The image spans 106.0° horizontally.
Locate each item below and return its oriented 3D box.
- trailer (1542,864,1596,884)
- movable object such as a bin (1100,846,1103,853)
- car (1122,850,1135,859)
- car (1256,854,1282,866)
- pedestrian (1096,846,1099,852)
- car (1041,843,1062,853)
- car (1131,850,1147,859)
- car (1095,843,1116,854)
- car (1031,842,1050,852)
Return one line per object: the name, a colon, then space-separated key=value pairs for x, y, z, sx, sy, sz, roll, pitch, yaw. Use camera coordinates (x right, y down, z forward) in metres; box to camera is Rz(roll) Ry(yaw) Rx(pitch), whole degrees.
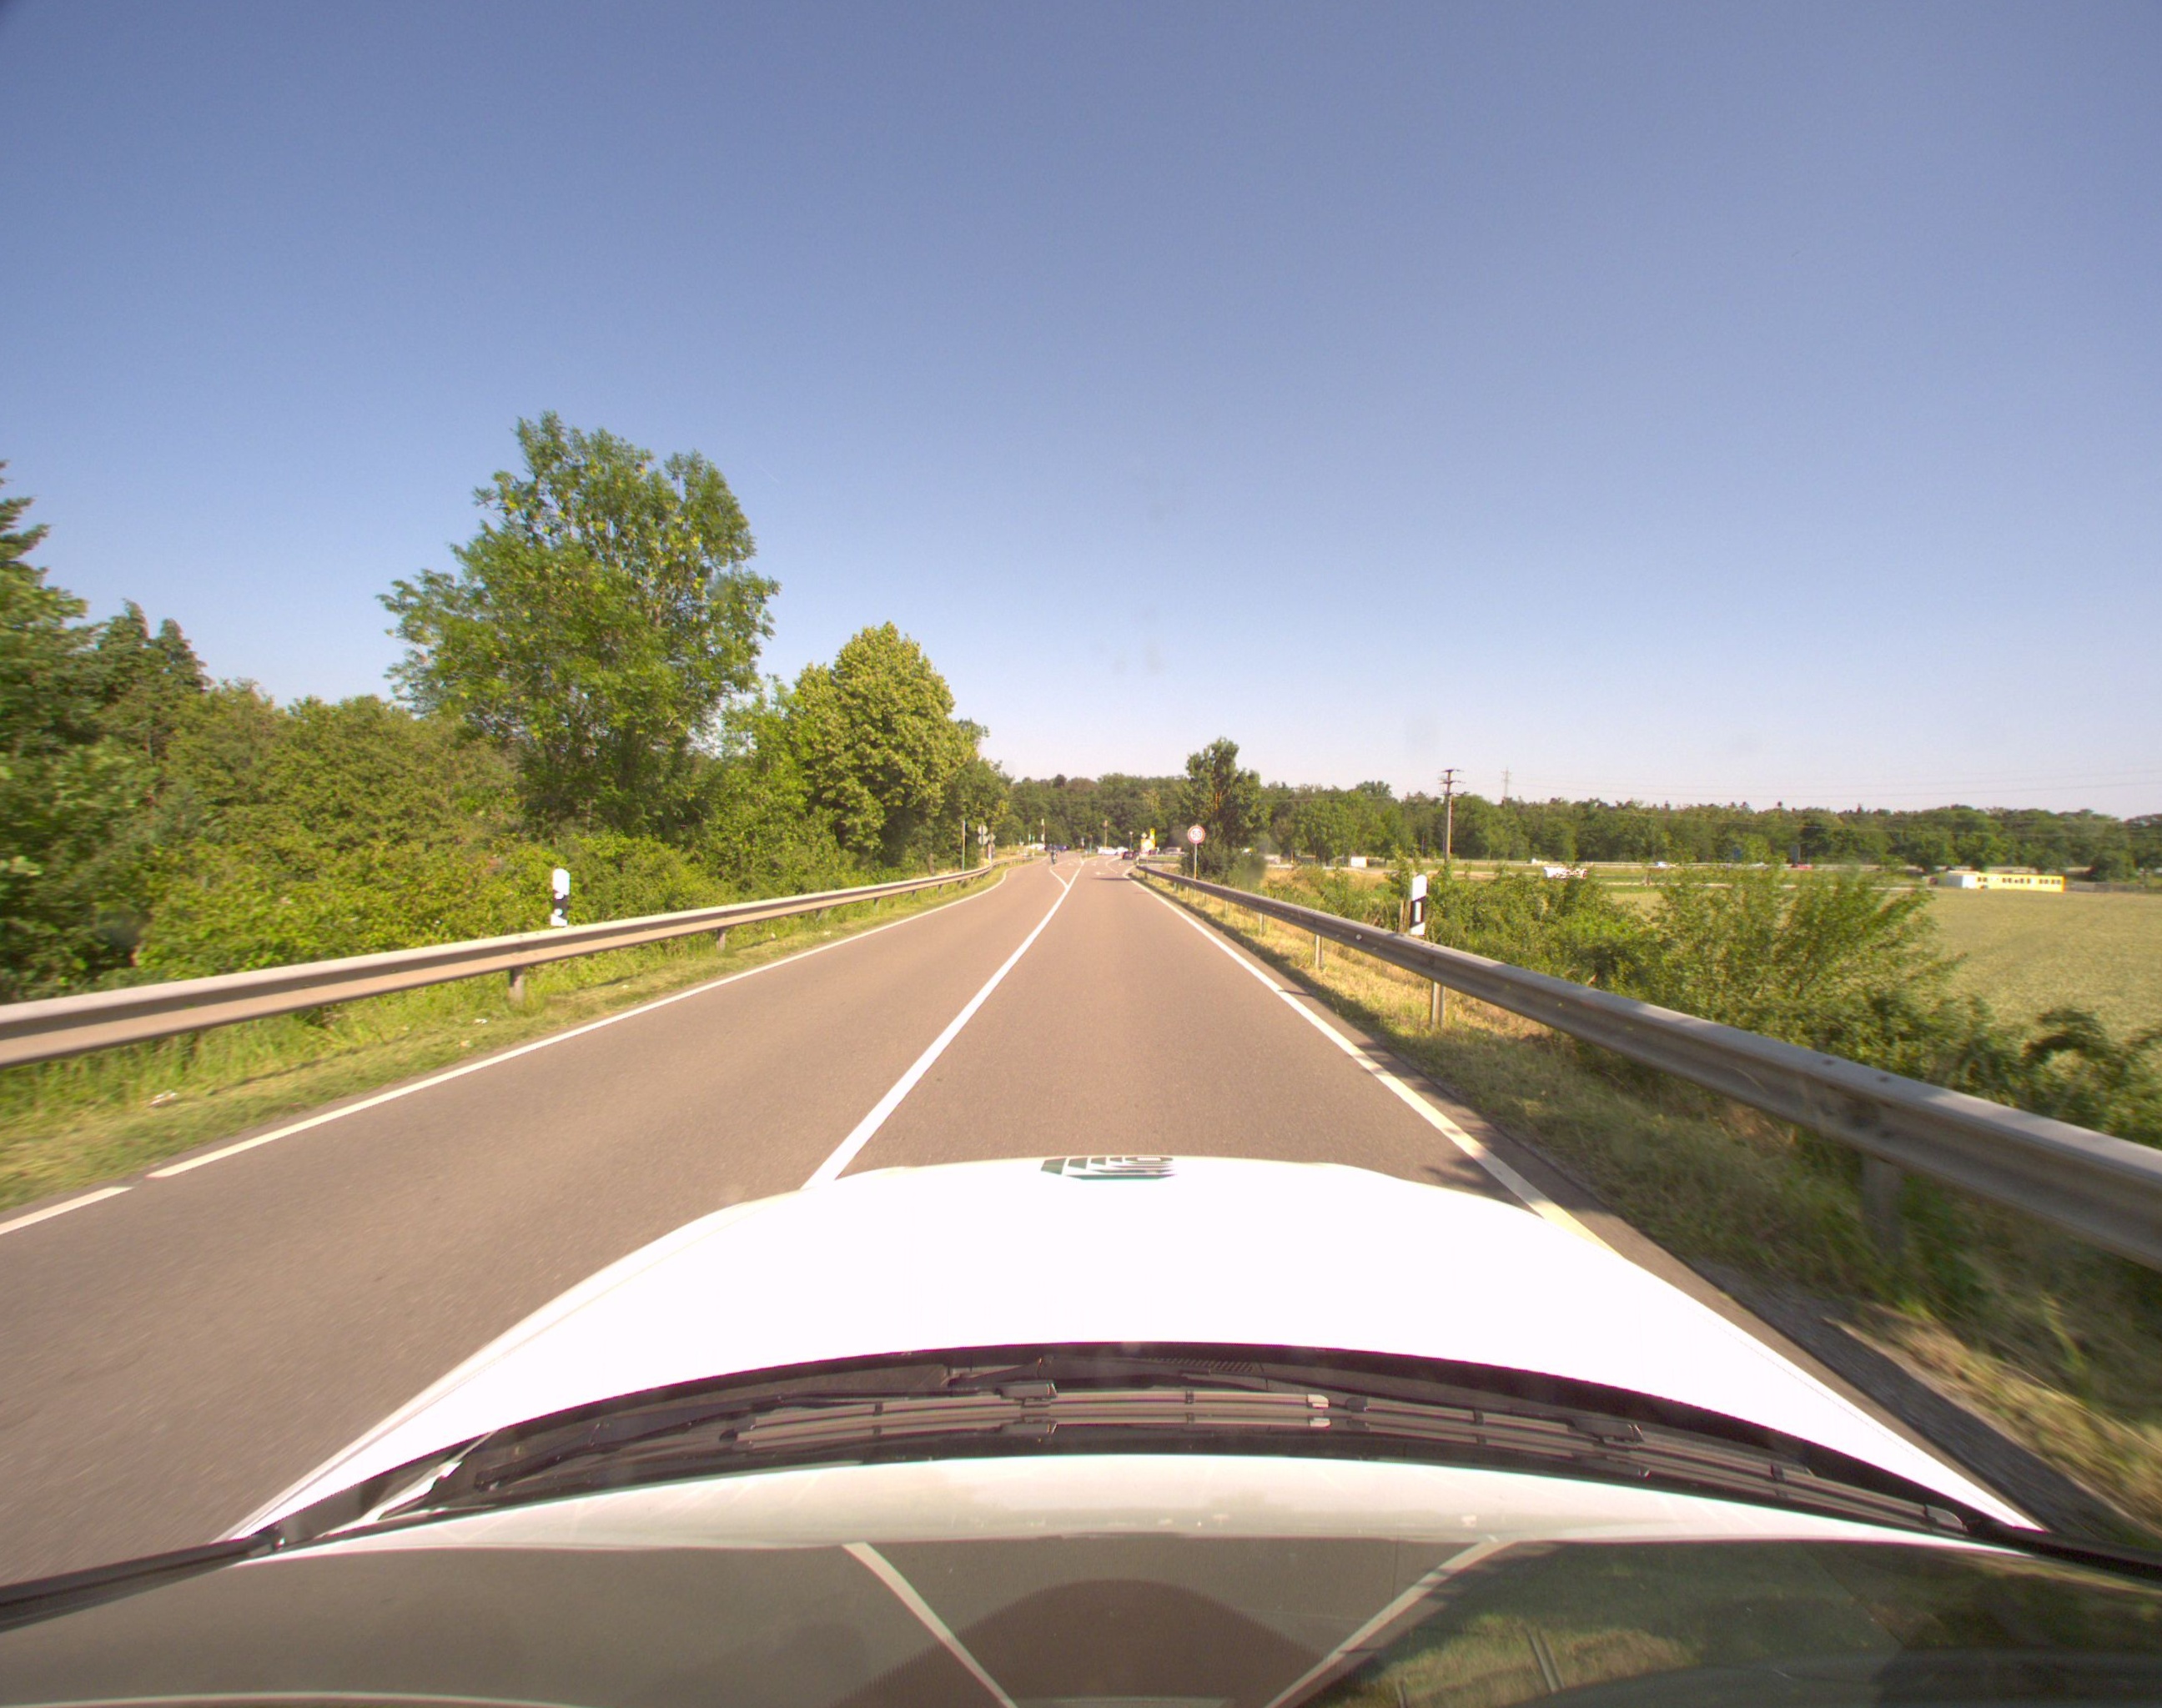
trailer: x=75.754 y=3.099 z=126.549 sx=6.732 sy=2.670 sz=2.906 roll=2 pitch=1 yaw=17
movable object such as a bin: x=4.414 y=-1.049 z=175.552 sx=0.598 sy=1.488 sz=0.734 roll=-1 pitch=0 yaw=9
car: x=7.948 y=0.054 z=136.718 sx=1.790 sy=1.398 sz=4.008 roll=-4 pitch=0 yaw=7
car: x=34.015 y=1.071 z=147.447 sx=3.950 sy=1.876 sz=1.903 roll=4 pitch=1 yaw=41
pedestrian: x=3.608 y=-1.104 z=174.834 sx=0.518 sy=1.390 sz=0.517 roll=-1 pitch=0 yaw=31
car: x=-5.704 y=-1.157 z=158.420 sx=3.983 sy=2.013 sz=1.796 roll=1 pitch=1 yaw=-8
car: x=10.242 y=0.065 z=144.296 sx=1.785 sy=1.501 sz=4.019 roll=2 pitch=1 yaw=18
car: x=4.776 y=-1.051 z=158.403 sx=3.978 sy=2.013 sz=1.799 roll=1 pitch=1 yaw=-3
car: x=-9.044 y=-1.564 z=181.737 sx=4.001 sy=2.013 sz=1.784 roll=-1 pitch=0 yaw=-20
